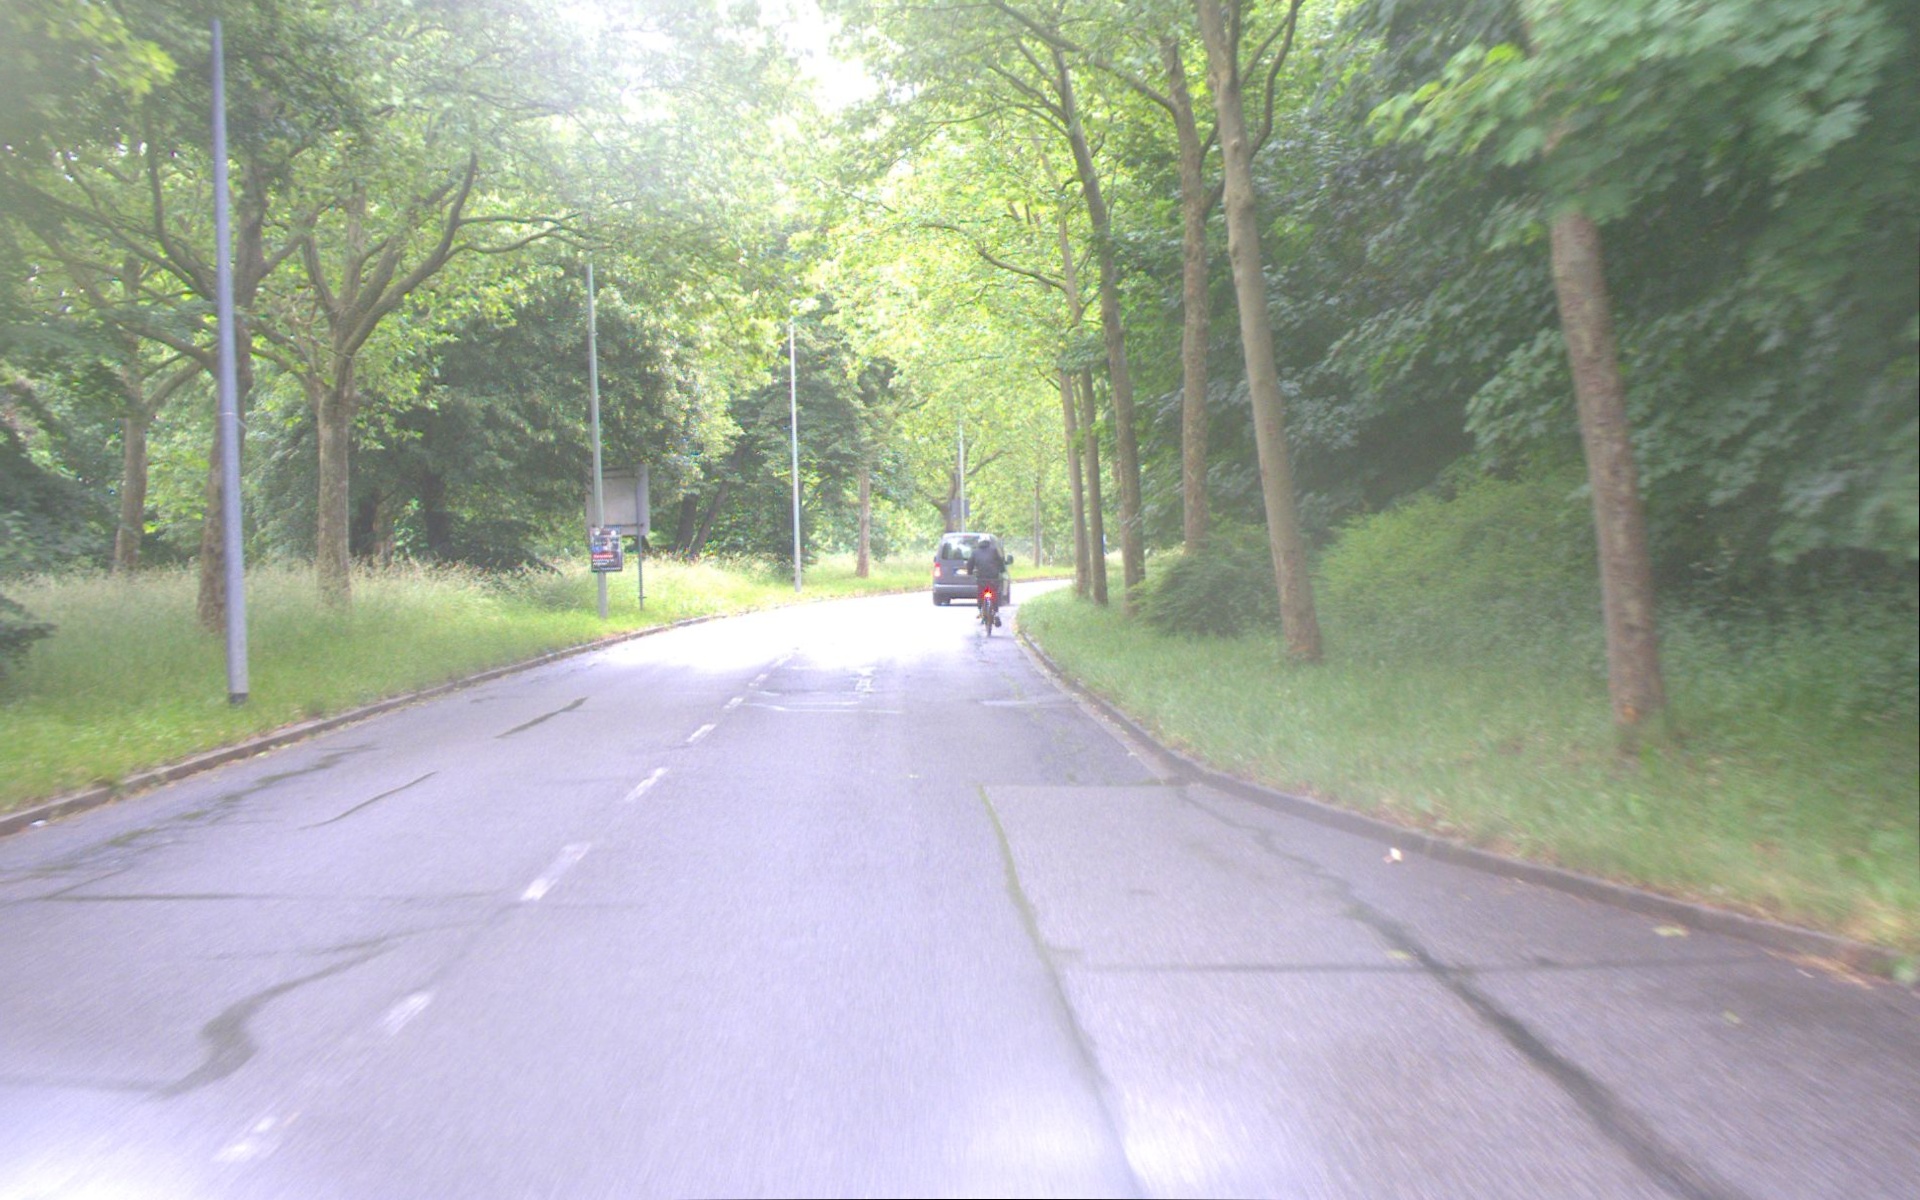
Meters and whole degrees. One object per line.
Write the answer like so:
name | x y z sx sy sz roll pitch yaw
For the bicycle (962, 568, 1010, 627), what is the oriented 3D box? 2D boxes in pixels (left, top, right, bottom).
bicycle | 0.448 -0.059 58.405 0.730 0.970 2.173 0 1 2

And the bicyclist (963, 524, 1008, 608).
bicyclist | 0.441 -0.582 58.317 0.730 1.406 0.973 0 1 2

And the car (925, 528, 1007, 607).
car | 0.162 -0.836 87.405 1.985 1.919 4.000 -1 1 0
